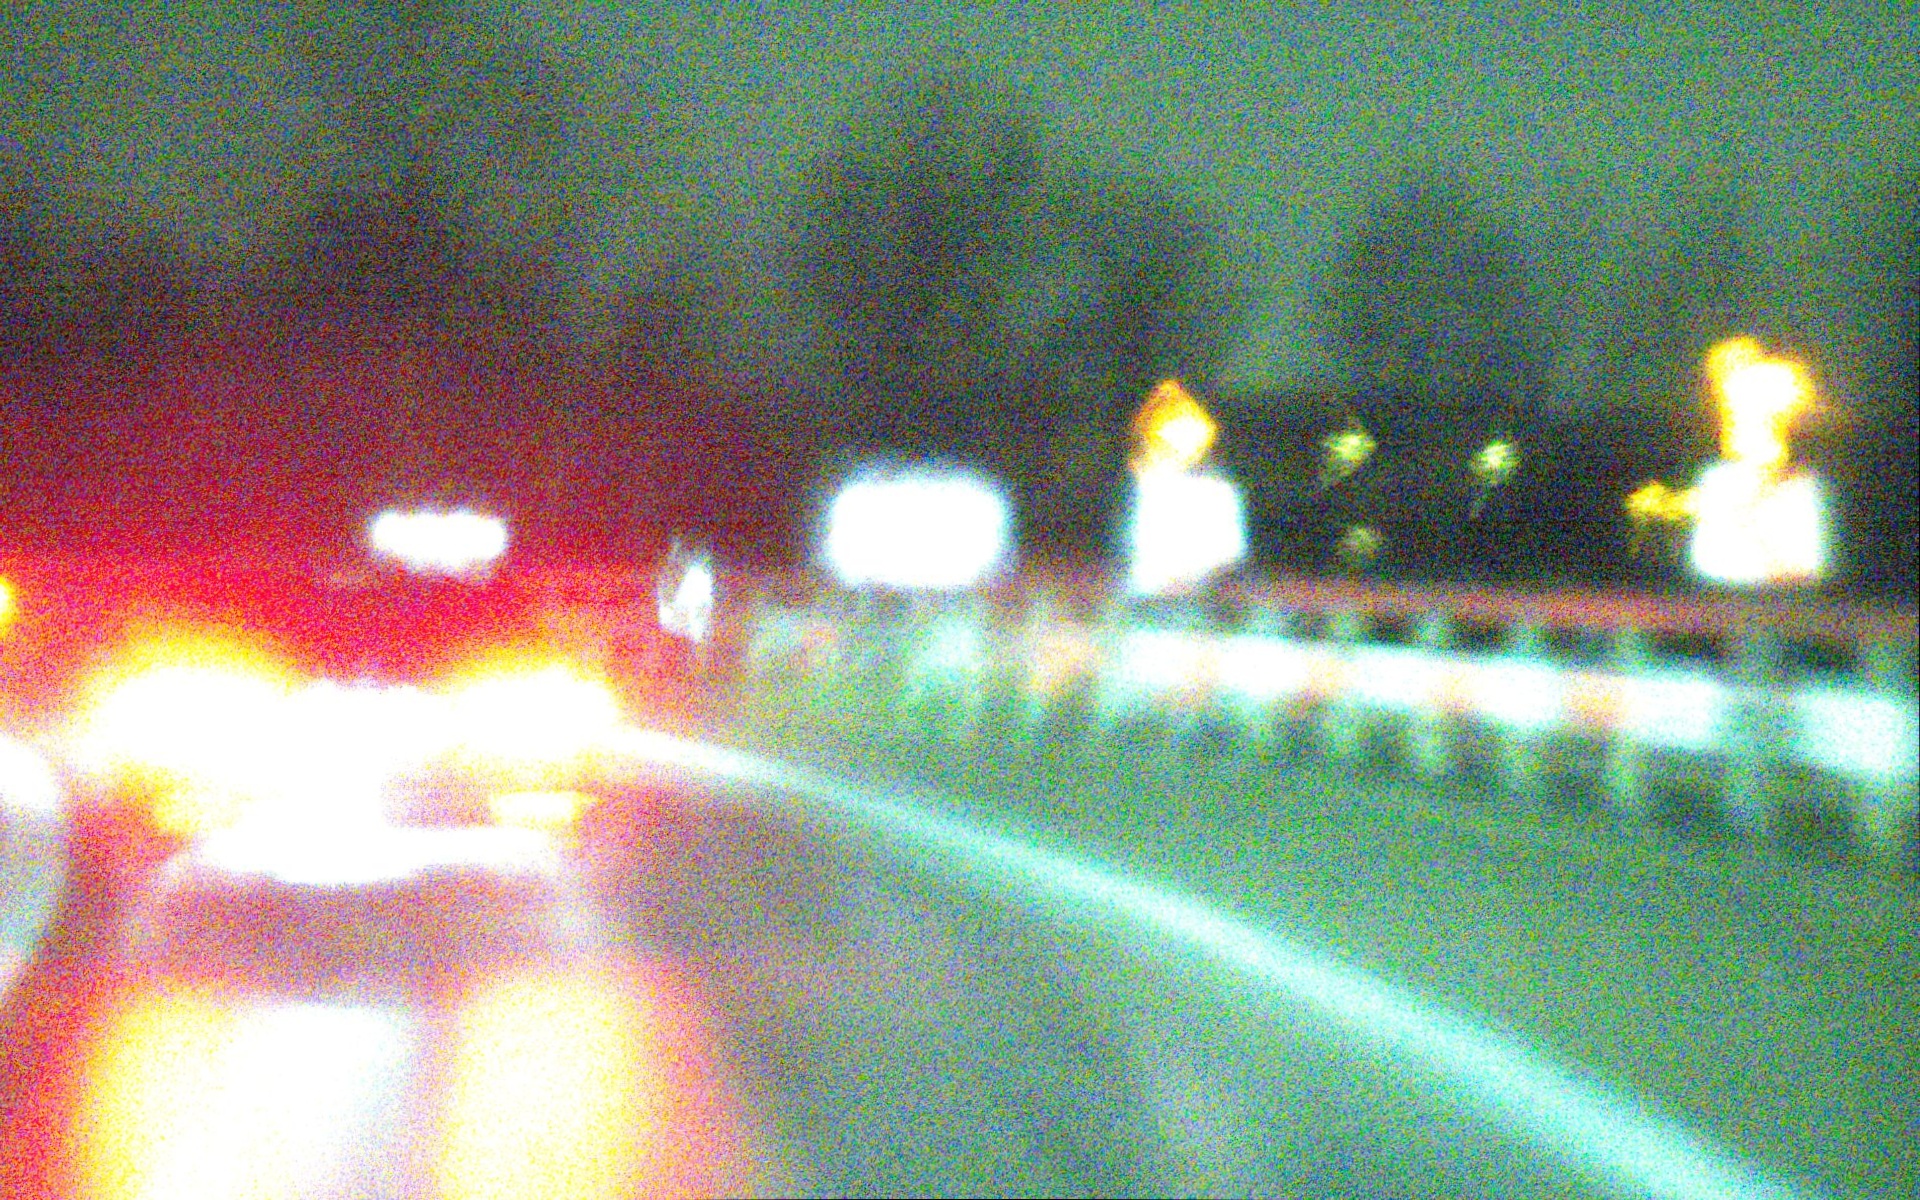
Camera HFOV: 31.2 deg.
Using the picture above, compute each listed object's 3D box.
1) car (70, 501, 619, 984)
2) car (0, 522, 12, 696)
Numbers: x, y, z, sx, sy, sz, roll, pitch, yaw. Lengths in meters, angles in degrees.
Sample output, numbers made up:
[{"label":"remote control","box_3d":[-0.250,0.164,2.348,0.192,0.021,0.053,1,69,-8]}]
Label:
[{"label":"car","box_3d":[-2.506,0.443,13.838,1.860,1.641,4.070,0,1,-11]},{"label":"car","box_3d":[-11.091,0.040,35.289,1.895,1.714,4.046,1,1,-26]}]
